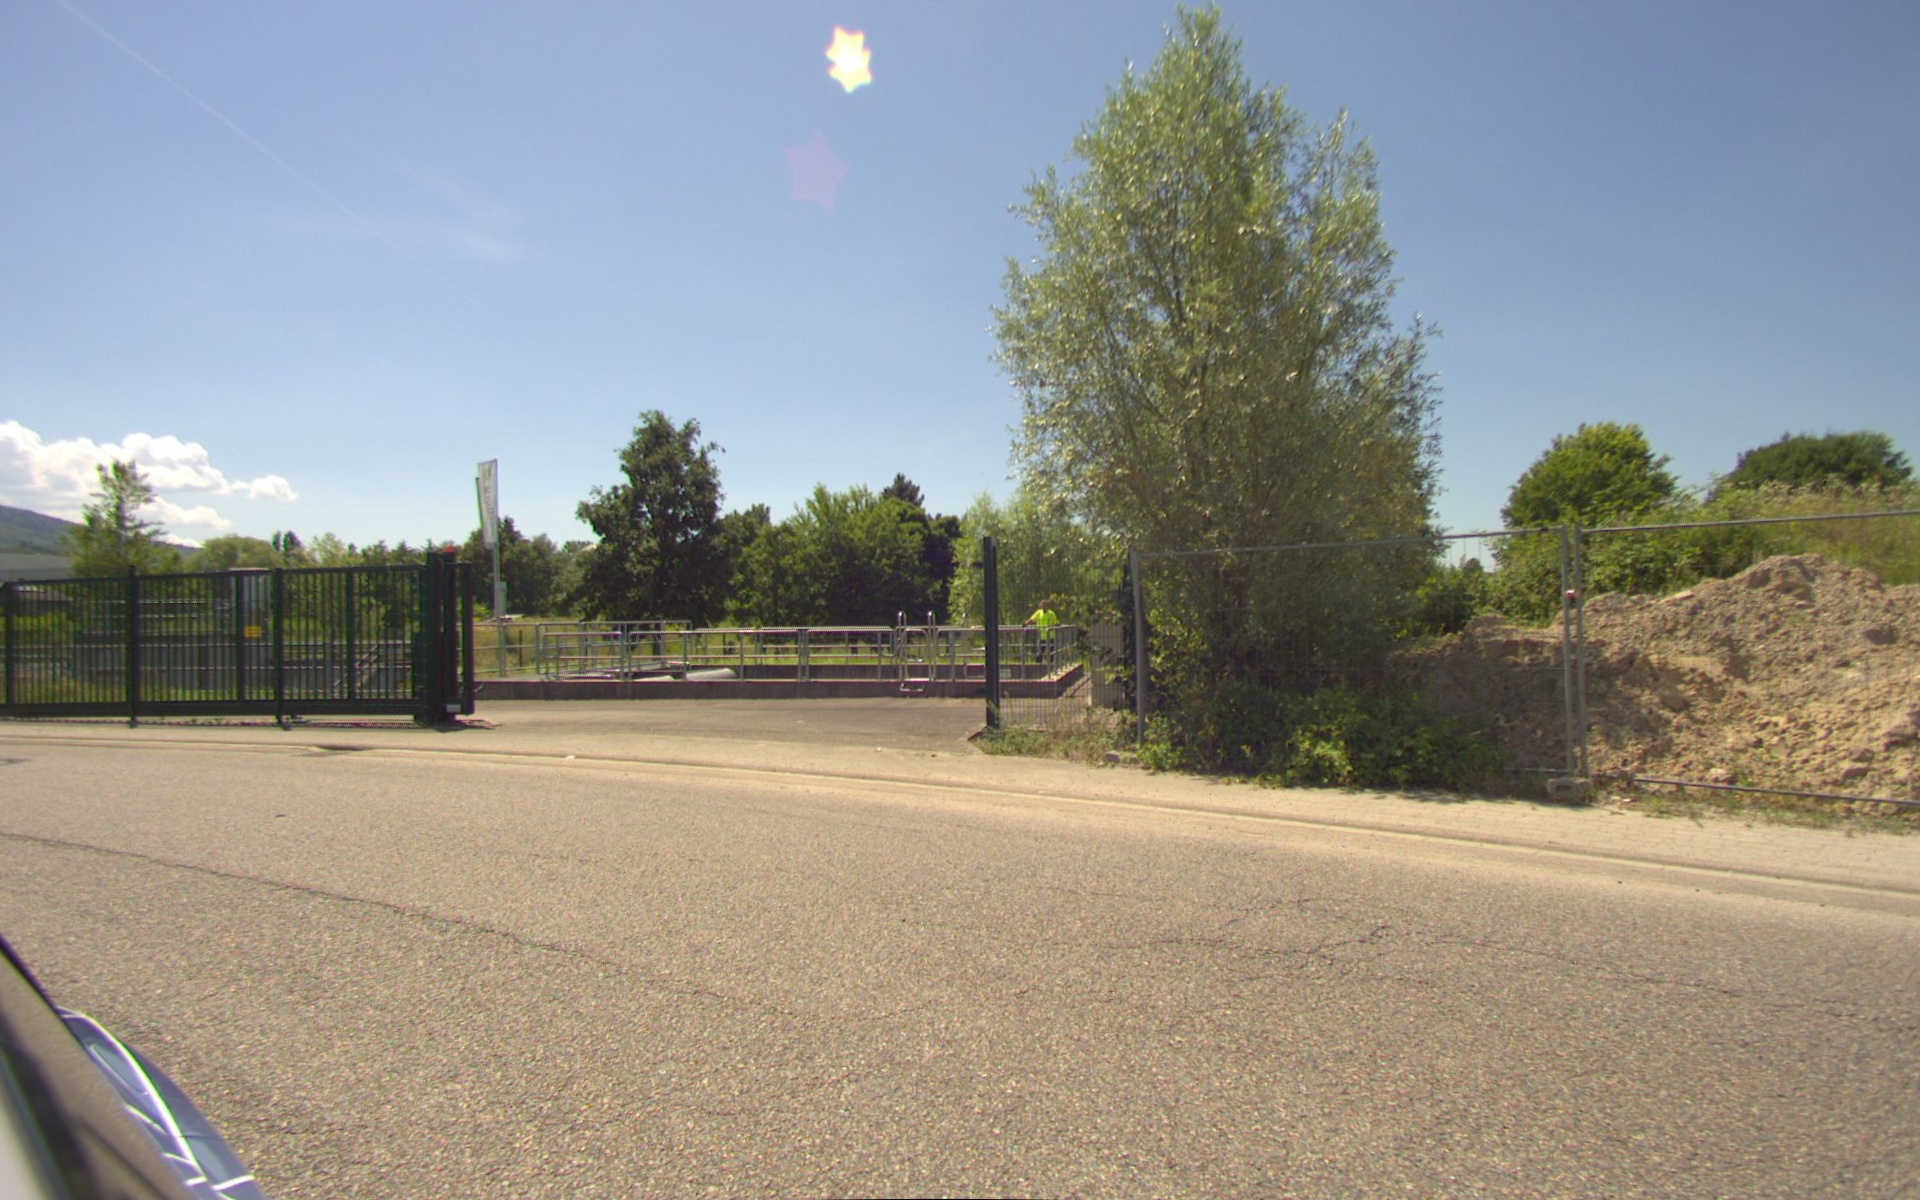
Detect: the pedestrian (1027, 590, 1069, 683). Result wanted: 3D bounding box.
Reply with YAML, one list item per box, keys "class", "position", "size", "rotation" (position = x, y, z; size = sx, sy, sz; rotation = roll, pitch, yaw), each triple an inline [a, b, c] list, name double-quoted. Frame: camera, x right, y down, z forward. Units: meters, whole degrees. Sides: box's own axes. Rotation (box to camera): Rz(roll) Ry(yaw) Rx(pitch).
- class: "pedestrian"
  position: [2.117, 0.878, 24.325]
  size: [0.906, 2.167, 0.877]
  rotation: [-2, -2, 8]
